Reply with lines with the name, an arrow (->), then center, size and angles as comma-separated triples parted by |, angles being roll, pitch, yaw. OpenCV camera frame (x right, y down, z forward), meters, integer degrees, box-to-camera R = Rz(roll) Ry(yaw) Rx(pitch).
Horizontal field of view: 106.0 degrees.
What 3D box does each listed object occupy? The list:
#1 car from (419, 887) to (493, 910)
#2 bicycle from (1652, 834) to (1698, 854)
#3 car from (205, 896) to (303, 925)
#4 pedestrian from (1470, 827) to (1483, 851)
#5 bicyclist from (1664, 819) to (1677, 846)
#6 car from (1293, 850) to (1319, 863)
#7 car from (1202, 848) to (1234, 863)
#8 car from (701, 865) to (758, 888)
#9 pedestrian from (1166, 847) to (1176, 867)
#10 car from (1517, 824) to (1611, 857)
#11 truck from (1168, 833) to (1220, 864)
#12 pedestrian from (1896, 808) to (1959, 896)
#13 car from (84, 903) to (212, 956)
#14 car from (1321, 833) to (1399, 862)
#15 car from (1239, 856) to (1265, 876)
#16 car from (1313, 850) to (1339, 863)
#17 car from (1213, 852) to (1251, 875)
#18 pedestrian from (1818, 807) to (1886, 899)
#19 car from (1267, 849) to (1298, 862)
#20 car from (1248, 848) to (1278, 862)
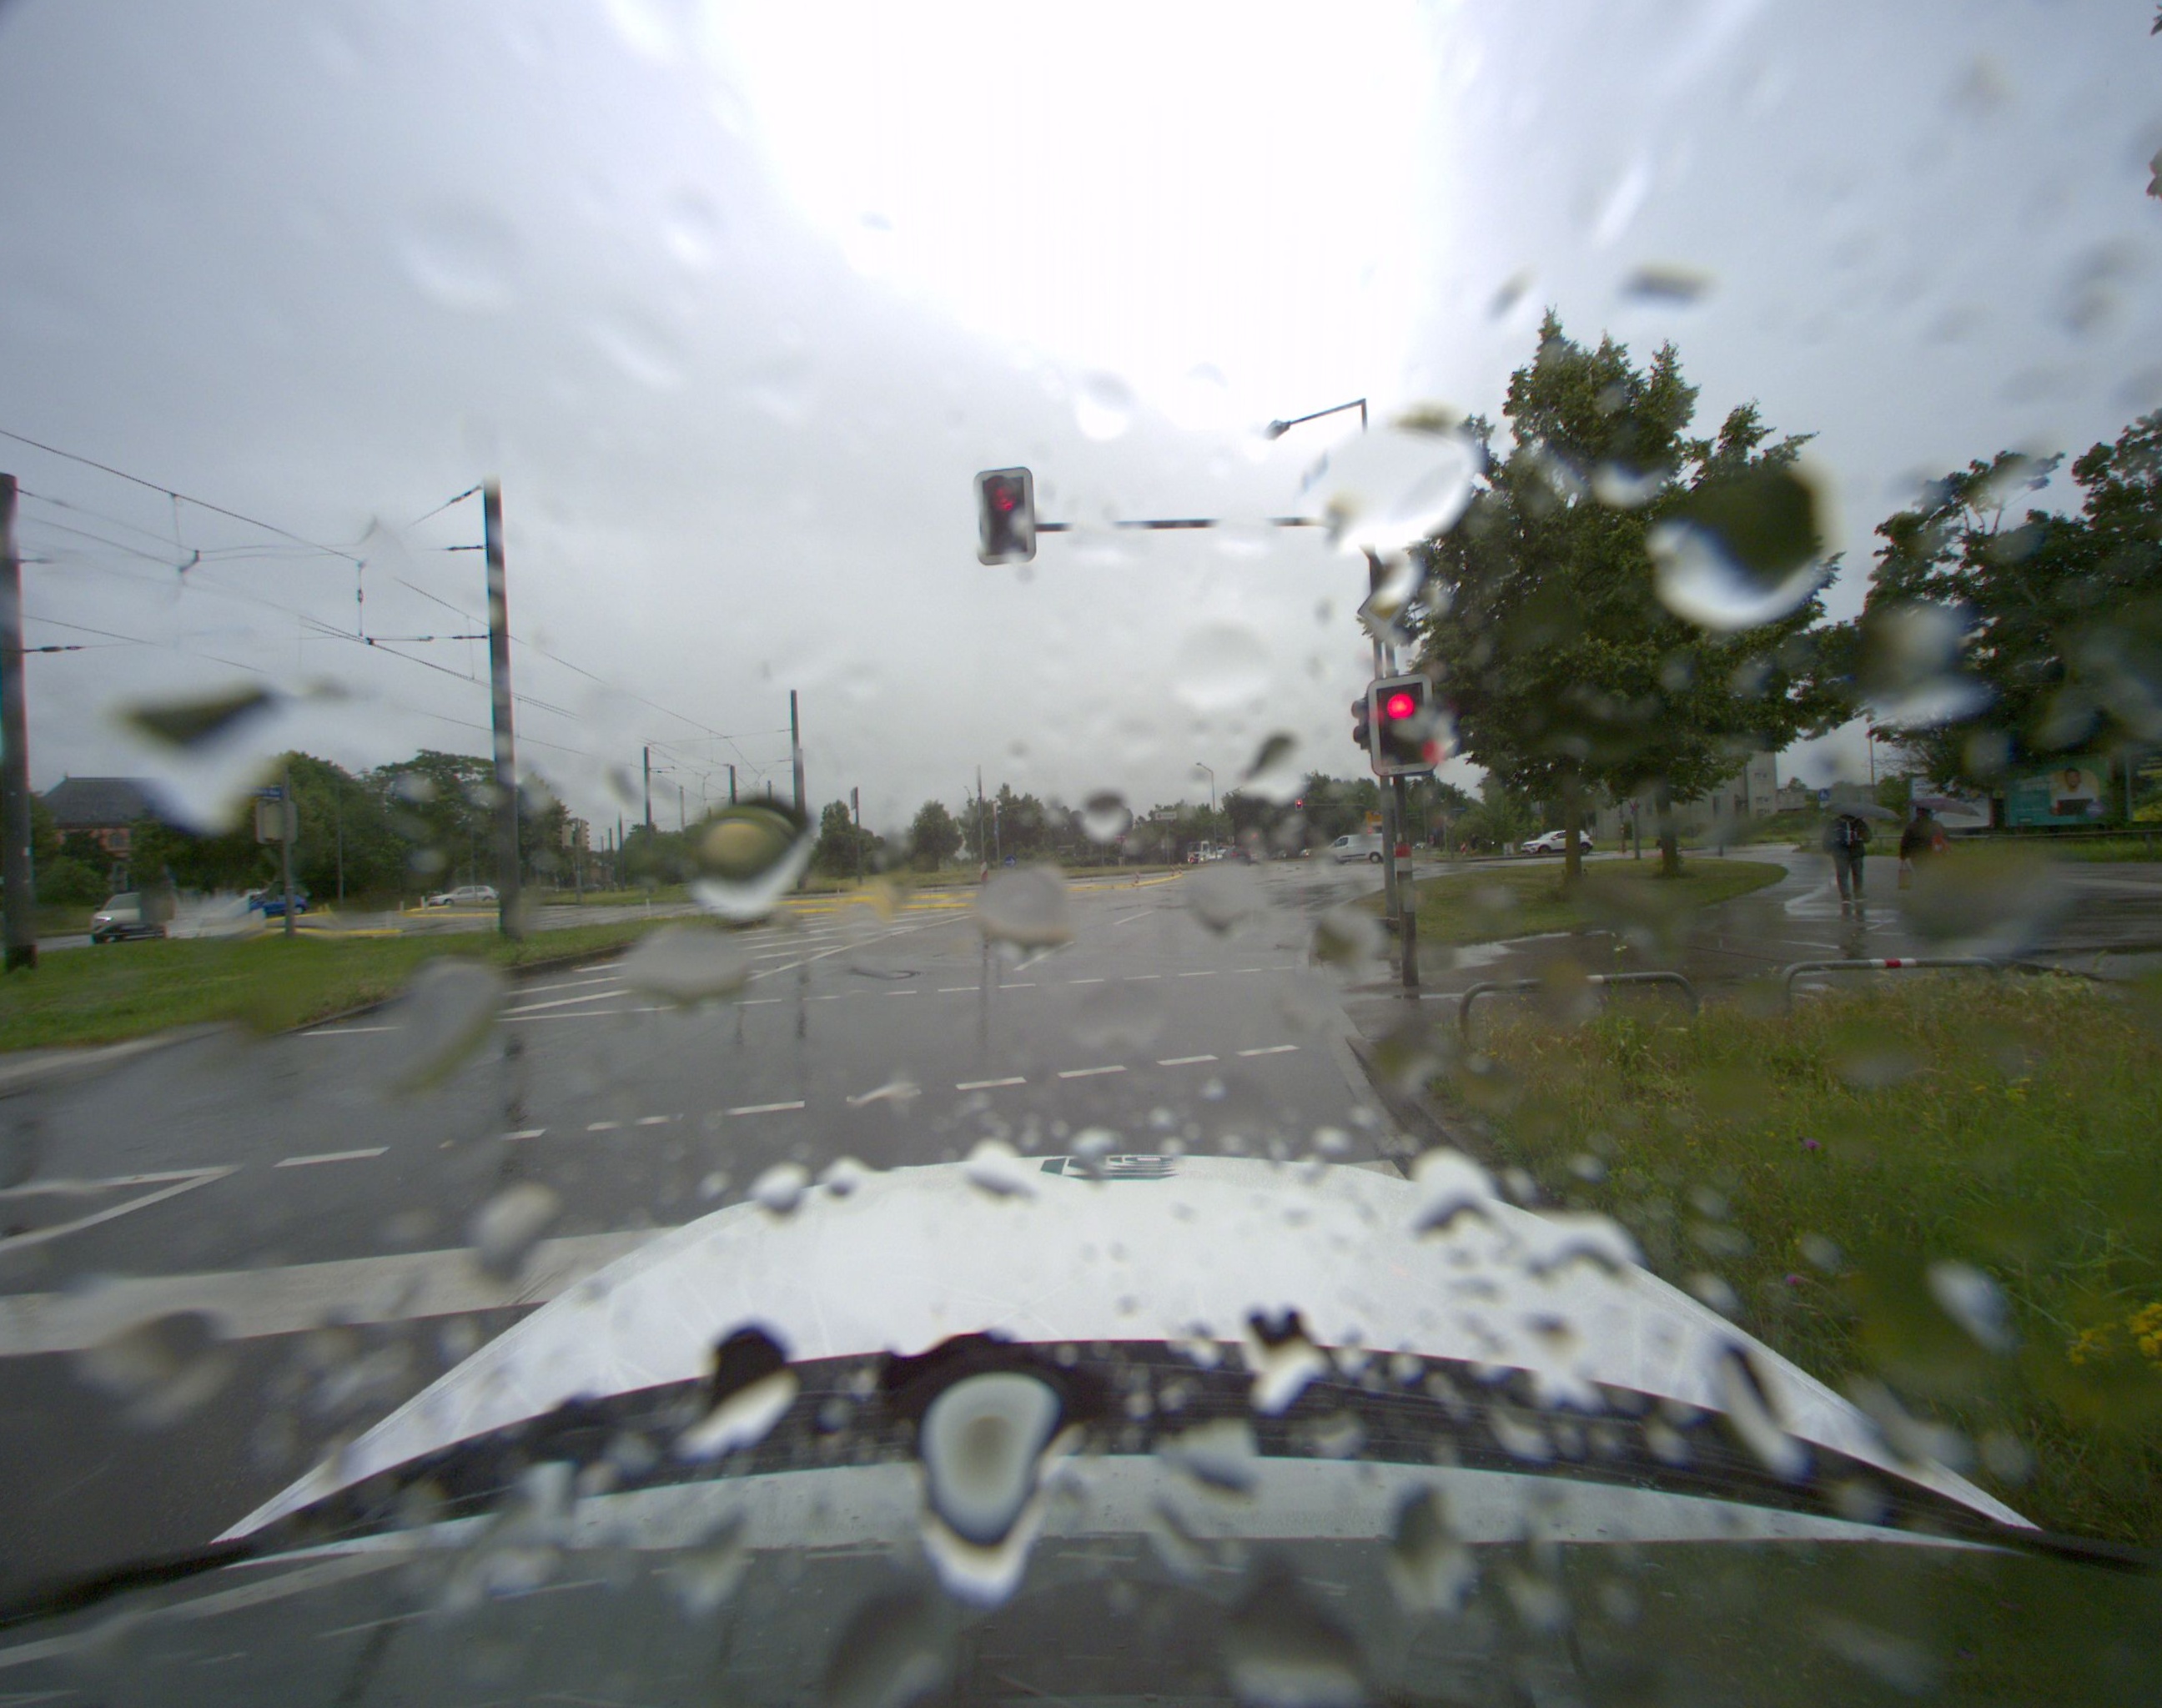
car -> -46.099, 3.271, 60.160 | 1.603, 1.454, 4.012 | -3, 0, 28
bicycle -> 40.260, -0.685, 55.179 | 2.485, 1.314, 0.573 | -1, -1, 12
car -> -52.184, 3.540, 51.467 | 1.603, 1.454, 4.011 | -3, 0, 26
pedestrian -> 31.437, -1.159, 64.726 | 0.811, 1.868, 0.670 | 0, -1, 9
bicyclist -> 39.985, -1.452, 55.248 | 0.585, 1.742, 0.498 | -1, -1, 13
car -> 29.575, 0.286, 107.004 | 1.779, 1.662, 4.024 | -1, -1, 42
car -> 16.187, 0.165, 96.050 | 1.779, 1.662, 4.159 | -1, -1, 43
car -> -32.651, 2.048, 75.691 | 4.782, 1.851, 1.984 | -2, 0, -24
pedestrian -> 6.014, 0.225, 54.373 | 0.448, 1.304, 0.489 | -3, -1, 40
car -> 30.568, -0.856, 51.670 | 4.743, 1.851, 2.000 | -3, 0, 1
truck -> 10.370, -0.411, 74.046 | 2.439, 2.686, 8.105 | -1, -1, 25
pedestrian -> 14.567, -0.036, 14.014 | 0.685, 1.461, 0.567 | -3, -2, -34
car -> -31.387, 2.477, 27.536 | 1.629, 1.454, 4.072 | -2, 0, -31
car -> 19.083, -0.415, 55.786 | 4.714, 1.851, 2.013 | -1, -1, 33
car -> 16.159, 1.132, 76.926 | 1.978, 1.851, 4.797 | -1, -1, 17
car -> 33.882, 0.363, 112.640 | 1.779, 1.662, 4.024 | -1, -1, 43
car -> 12.886, 0.841, 69.841 | 1.991, 1.851, 4.766 | 0, -1, -5
pedestrian -> 13.247, -0.013, 13.993 | 0.625, 1.522, 0.733 | 0, -1, -36
car -> 25.228, 0.218, 101.760 | 1.779, 1.662, 4.436 | -1, -1, 43
car -> 21.830, 0.165, 97.726 | 1.779, 1.662, 4.024 | -1, -1, 43
